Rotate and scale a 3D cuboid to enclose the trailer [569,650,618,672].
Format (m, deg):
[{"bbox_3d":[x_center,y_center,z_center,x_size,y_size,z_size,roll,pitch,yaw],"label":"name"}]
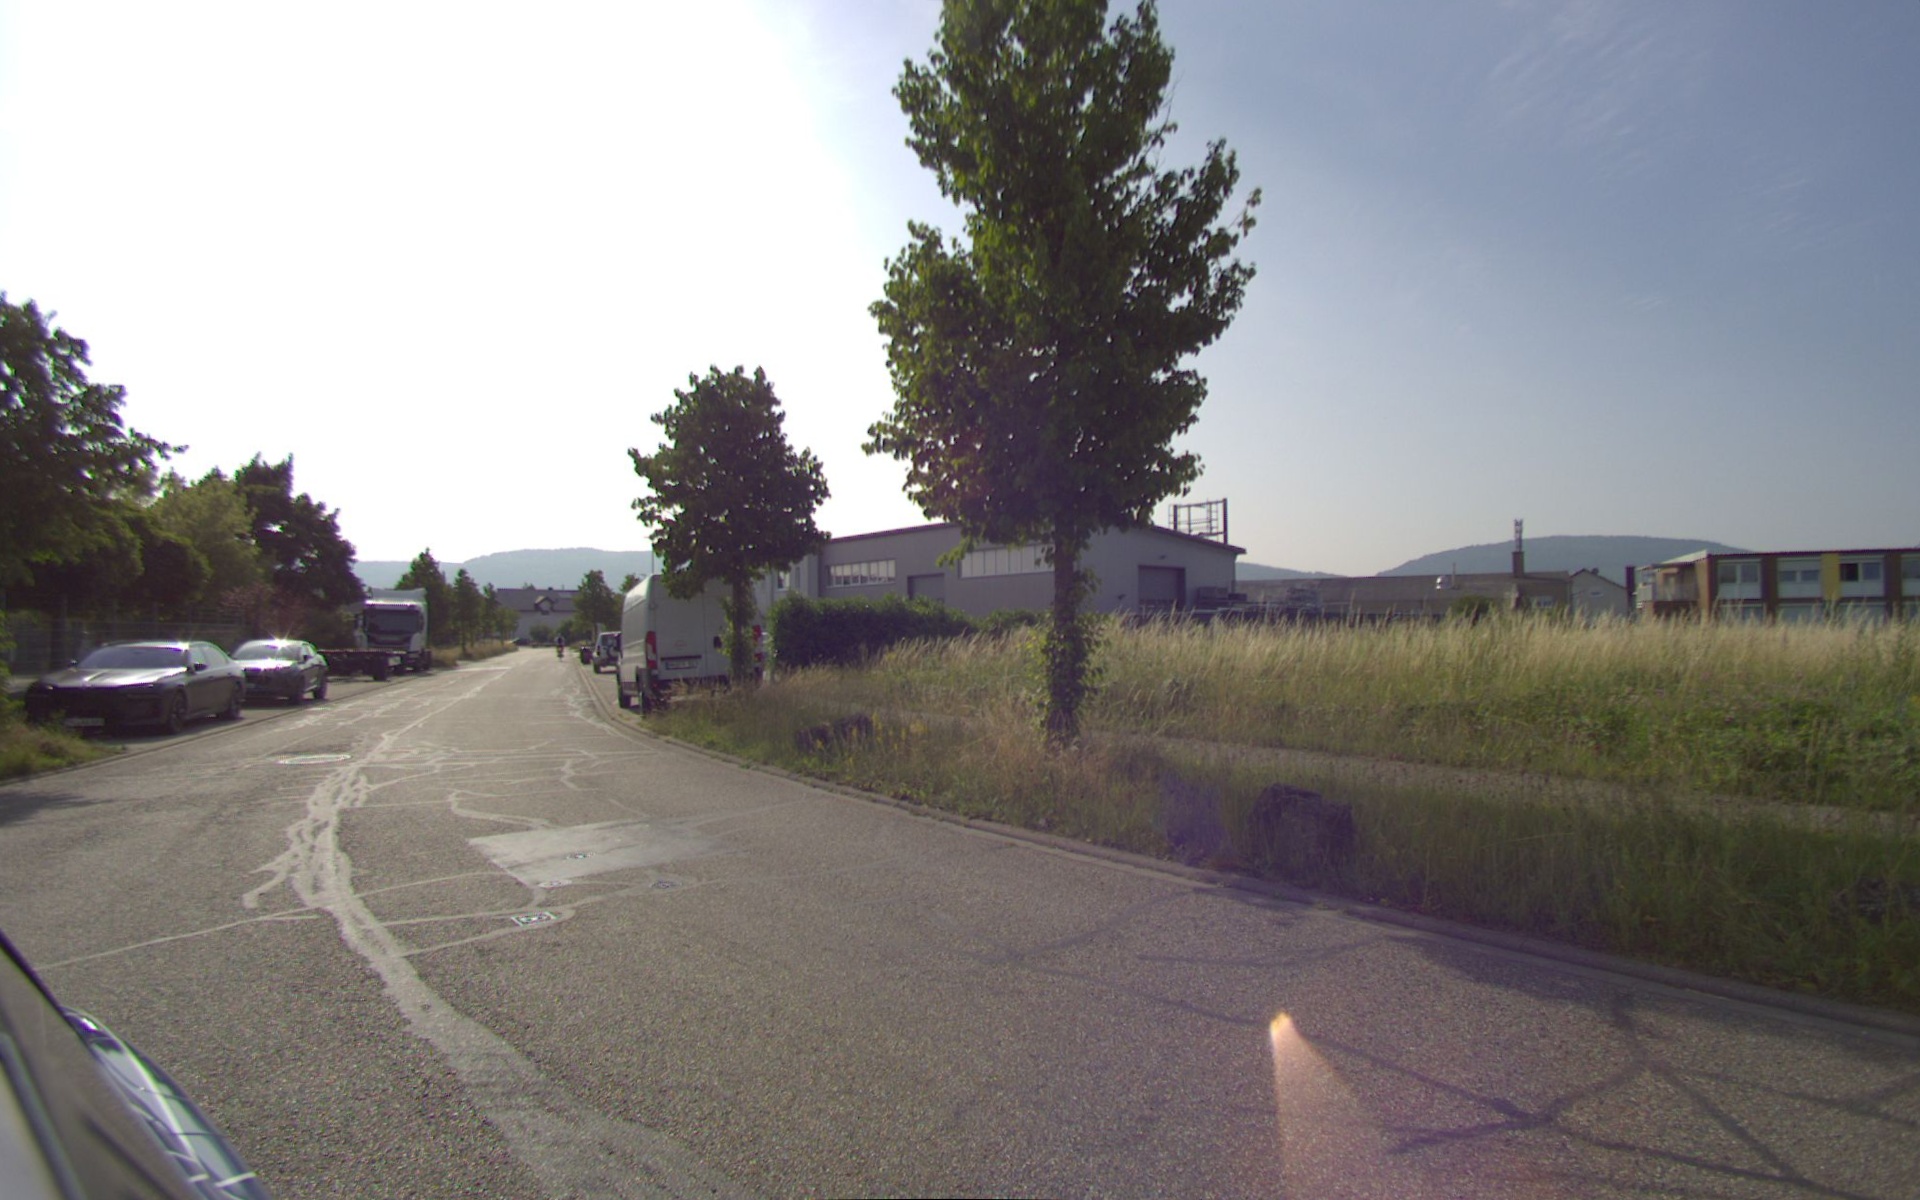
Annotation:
[{"bbox_3d":[-22.065,3.623,60.633,2.510,1.082,9.762,-2,-2,-21],"label":"trailer"}]

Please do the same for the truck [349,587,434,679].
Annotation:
[{"bbox_3d":[-26.435,1.586,47.326,2.653,3.995,6.067,2,-3,-23],"label":"truck"}]

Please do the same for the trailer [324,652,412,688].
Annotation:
[{"bbox_3d":[-23.095,2.689,39.762,1.911,1.245,7.475,2,-3,-22],"label":"trailer"}]

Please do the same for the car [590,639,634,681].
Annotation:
[{"bbox_3d":[-14.786,2.515,42.936,1.574,1.663,3.656,-1,-2,-21],"label":"car"}]

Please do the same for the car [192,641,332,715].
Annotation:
[{"bbox_3d":[-16.974,1.854,24.845,1.854,1.586,4.126,3,-3,-21],"label":"car"}]

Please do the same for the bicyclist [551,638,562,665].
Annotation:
[{"bbox_3d":[-26.109,3.339,65.449,0.630,1.732,1.169,0,-2,-21],"label":"bicyclist"}]

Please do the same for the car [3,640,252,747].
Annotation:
[{"bbox_3d":[-14.510,1.533,18.056,1.854,1.586,5.135,2,-2,-21],"label":"car"}]

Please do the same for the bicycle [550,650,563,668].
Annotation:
[{"bbox_3d":[-26.114,3.817,65.451,0.705,1.131,2.226,2,-3,-21],"label":"bicycle"}]

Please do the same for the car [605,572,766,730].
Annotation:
[{"bbox_3d":[-5.690,0.959,20.189,2.072,2.615,6.524,0,-2,-24],"label":"car"}]
